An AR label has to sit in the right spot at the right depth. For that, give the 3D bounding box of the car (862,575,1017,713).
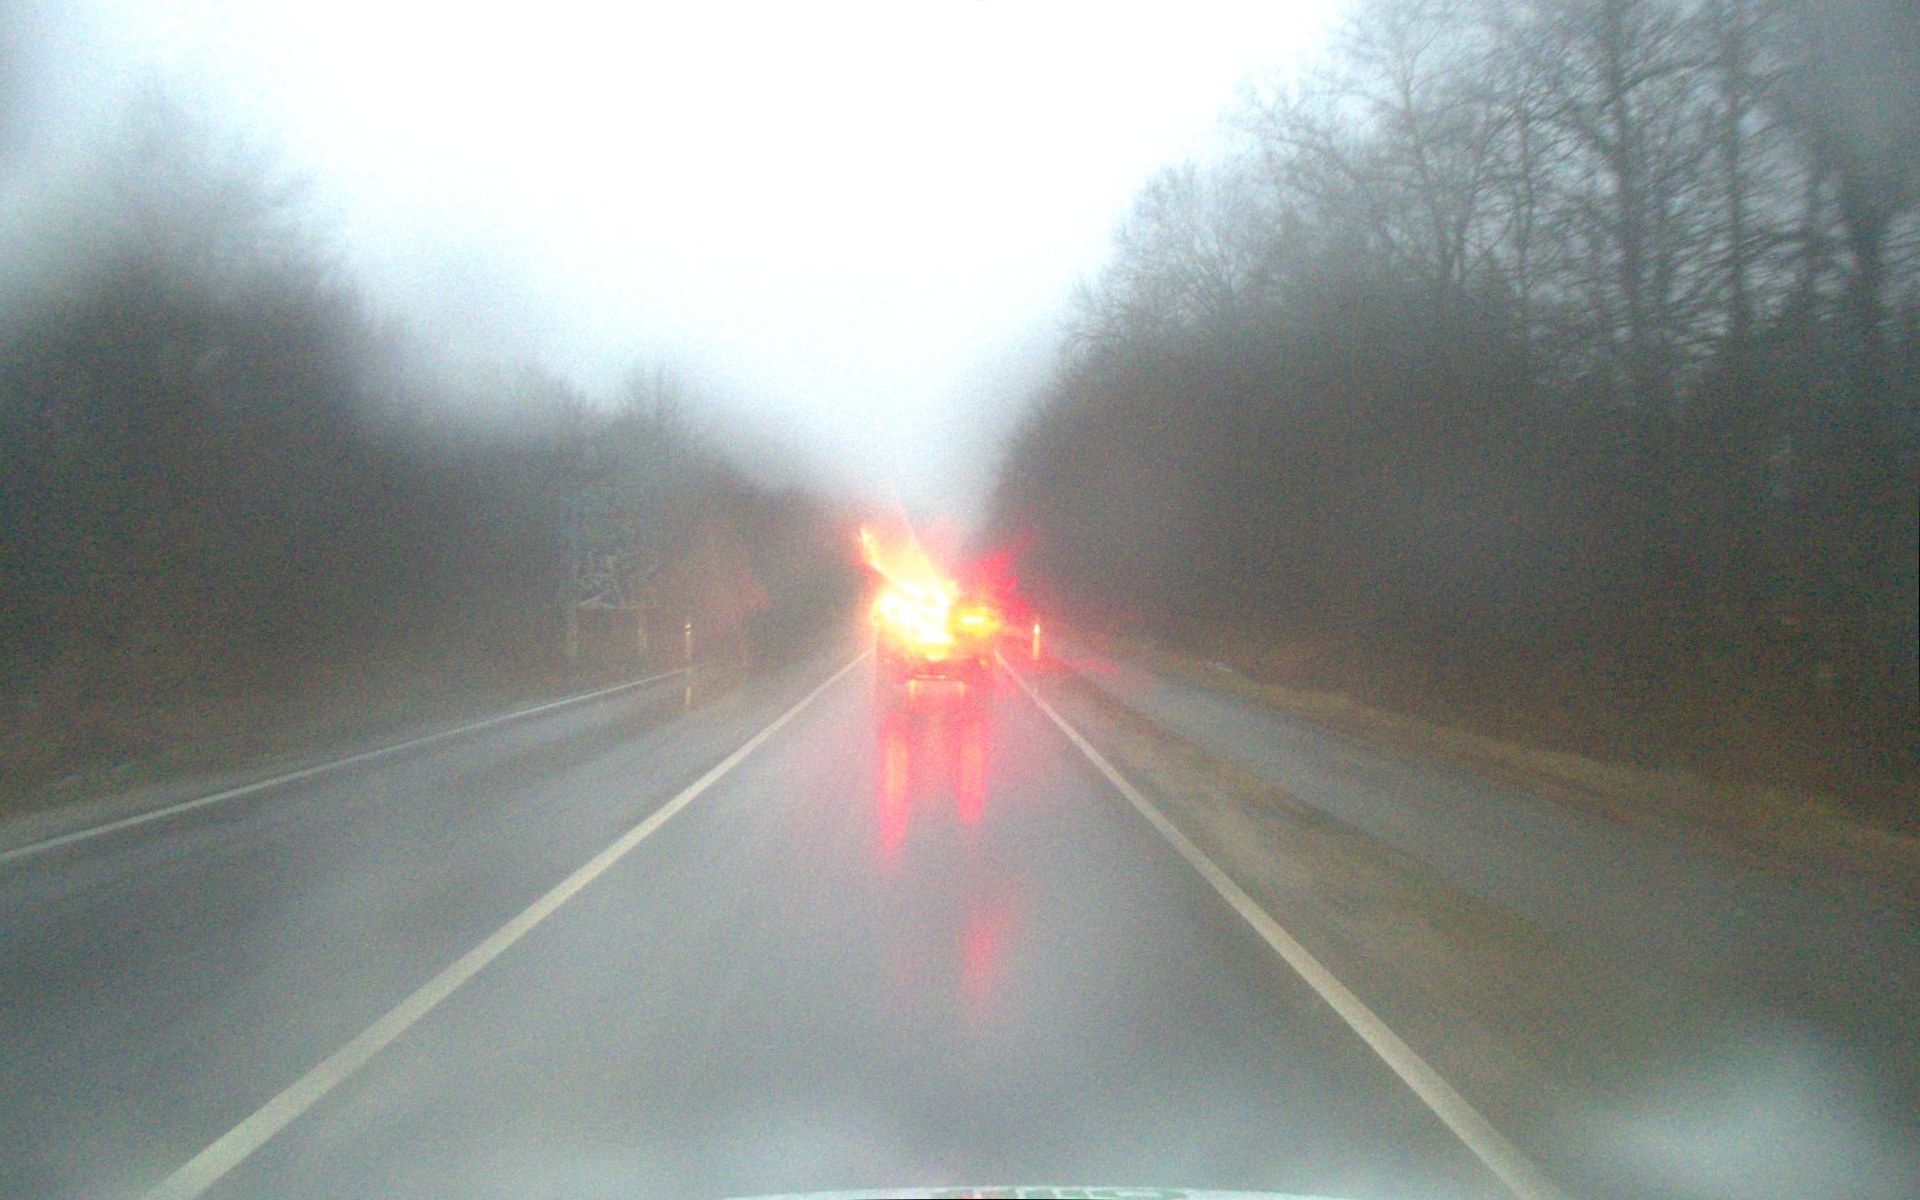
[{"bbox_3d":[-0.324,0.630,25.836,2.153,1.910,4.826,1,0,-1],"label":"car"}]
